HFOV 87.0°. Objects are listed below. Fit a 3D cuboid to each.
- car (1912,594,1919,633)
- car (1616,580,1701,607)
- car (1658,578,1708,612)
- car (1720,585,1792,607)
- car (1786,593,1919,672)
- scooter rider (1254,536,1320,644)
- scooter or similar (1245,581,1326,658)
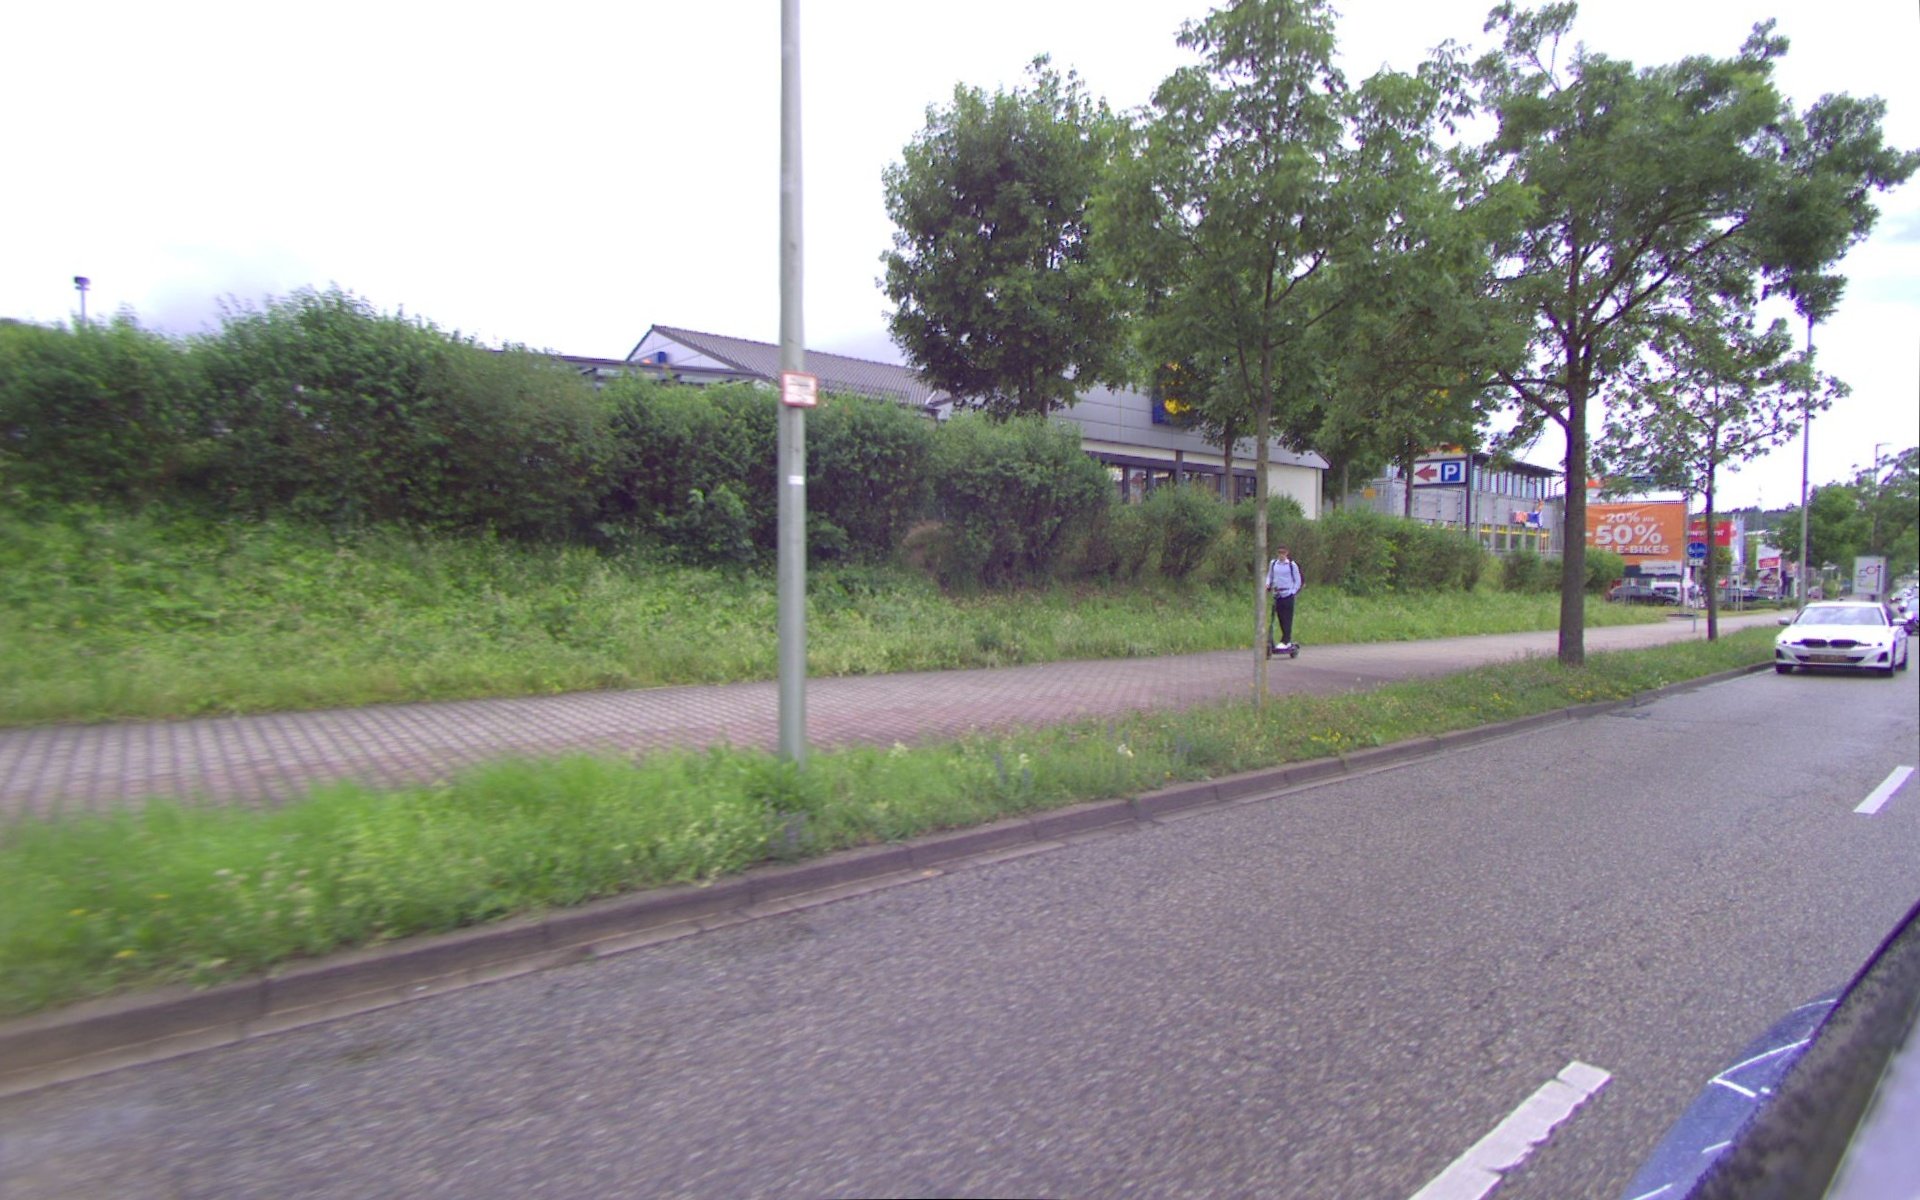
[{"bbox_3d":[40.725,0.533,41.926,1.793,1.601,4.153,0,0,43],"label":"car"},{"bbox_3d":[41.811,-0.403,60.713,4.073,1.457,1.776,2,-1,32],"label":"car"},{"bbox_3d":[56.889,-0.375,79.608,5.586,2.569,2.228,1,-1,-44],"label":"car"},{"bbox_3d":[71.107,-0.370,90.454,1.890,1.620,4.674,1,4,-35],"label":"car"},{"bbox_3d":[18.606,0.598,20.940,4.466,1.458,1.805,0,0,-44],"label":"car"},{"bbox_3d":[5.763,-0.197,17.839,0.843,1.842,0.696,-1,4,-40],"label":"scooter rider"},{"bbox_3d":[5.749,0.317,17.866,1.376,1.279,0.696,-1,4,-40],"label":"scooter or similar"}]
